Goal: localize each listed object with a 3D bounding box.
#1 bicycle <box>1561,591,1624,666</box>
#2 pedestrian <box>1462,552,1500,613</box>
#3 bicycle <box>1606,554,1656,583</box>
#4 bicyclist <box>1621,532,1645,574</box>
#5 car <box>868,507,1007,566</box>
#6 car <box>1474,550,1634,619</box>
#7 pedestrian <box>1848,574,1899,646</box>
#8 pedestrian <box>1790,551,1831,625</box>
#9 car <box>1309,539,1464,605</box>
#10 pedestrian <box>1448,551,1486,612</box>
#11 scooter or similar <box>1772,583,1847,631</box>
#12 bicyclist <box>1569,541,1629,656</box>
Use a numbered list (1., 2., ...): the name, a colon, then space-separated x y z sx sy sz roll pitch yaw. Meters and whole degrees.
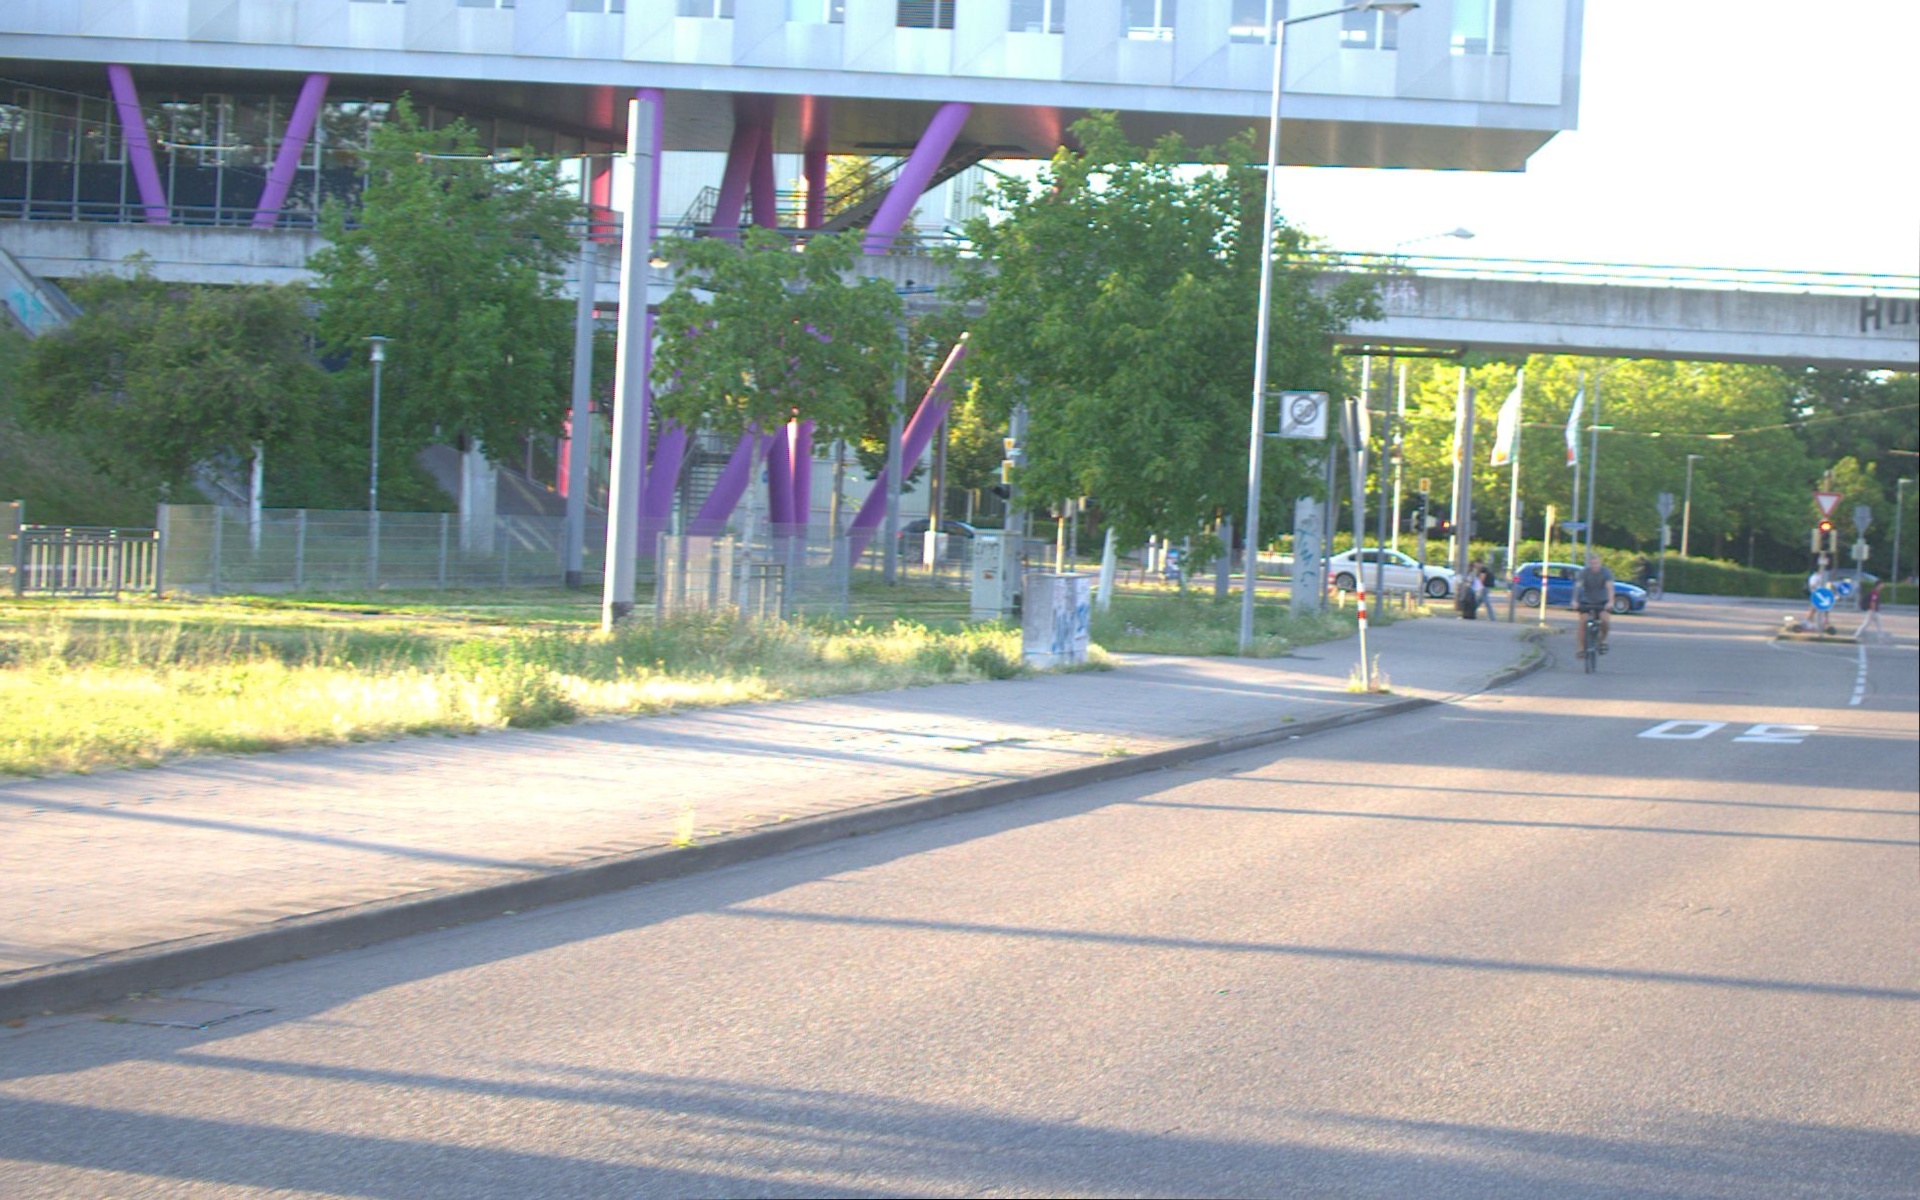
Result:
1. bicycle: 9.489 0.414 51.540 0.539 1.039 1.923 4 3 20
2. pedestrian: 14.460 -0.481 95.446 0.701 1.658 0.710 5 3 33
3. bicycle: 28.515 -1.323 146.056 1.962 1.124 0.560 3 2 -10
4. bicyclist: 28.600 -1.987 146.028 0.756 1.717 0.552 3 2 -9
5. car: -0.780 -2.253 120.979 4.470 1.810 1.944 4 2 14
6. car: 18.499 -0.497 107.184 4.715 1.822 1.892 3 2 7
7. pedestrian: 24.430 0.272 91.968 1.054 1.827 0.895 3 2 2
8. pedestrian: 23.453 -0.338 94.823 0.909 1.983 0.771 3 2 7
9. car: 13.858 -0.926 111.687 4.691 1.822 1.833 4 2 17
10. pedestrian: 13.969 -0.510 94.717 0.687 1.618 0.710 5 3 33
11. scooter or similar: 23.435 0.191 94.835 1.860 1.170 0.764 3 2 8
12. bicyclist: 9.568 -0.035 51.489 0.615 1.657 1.035 4 2 20
